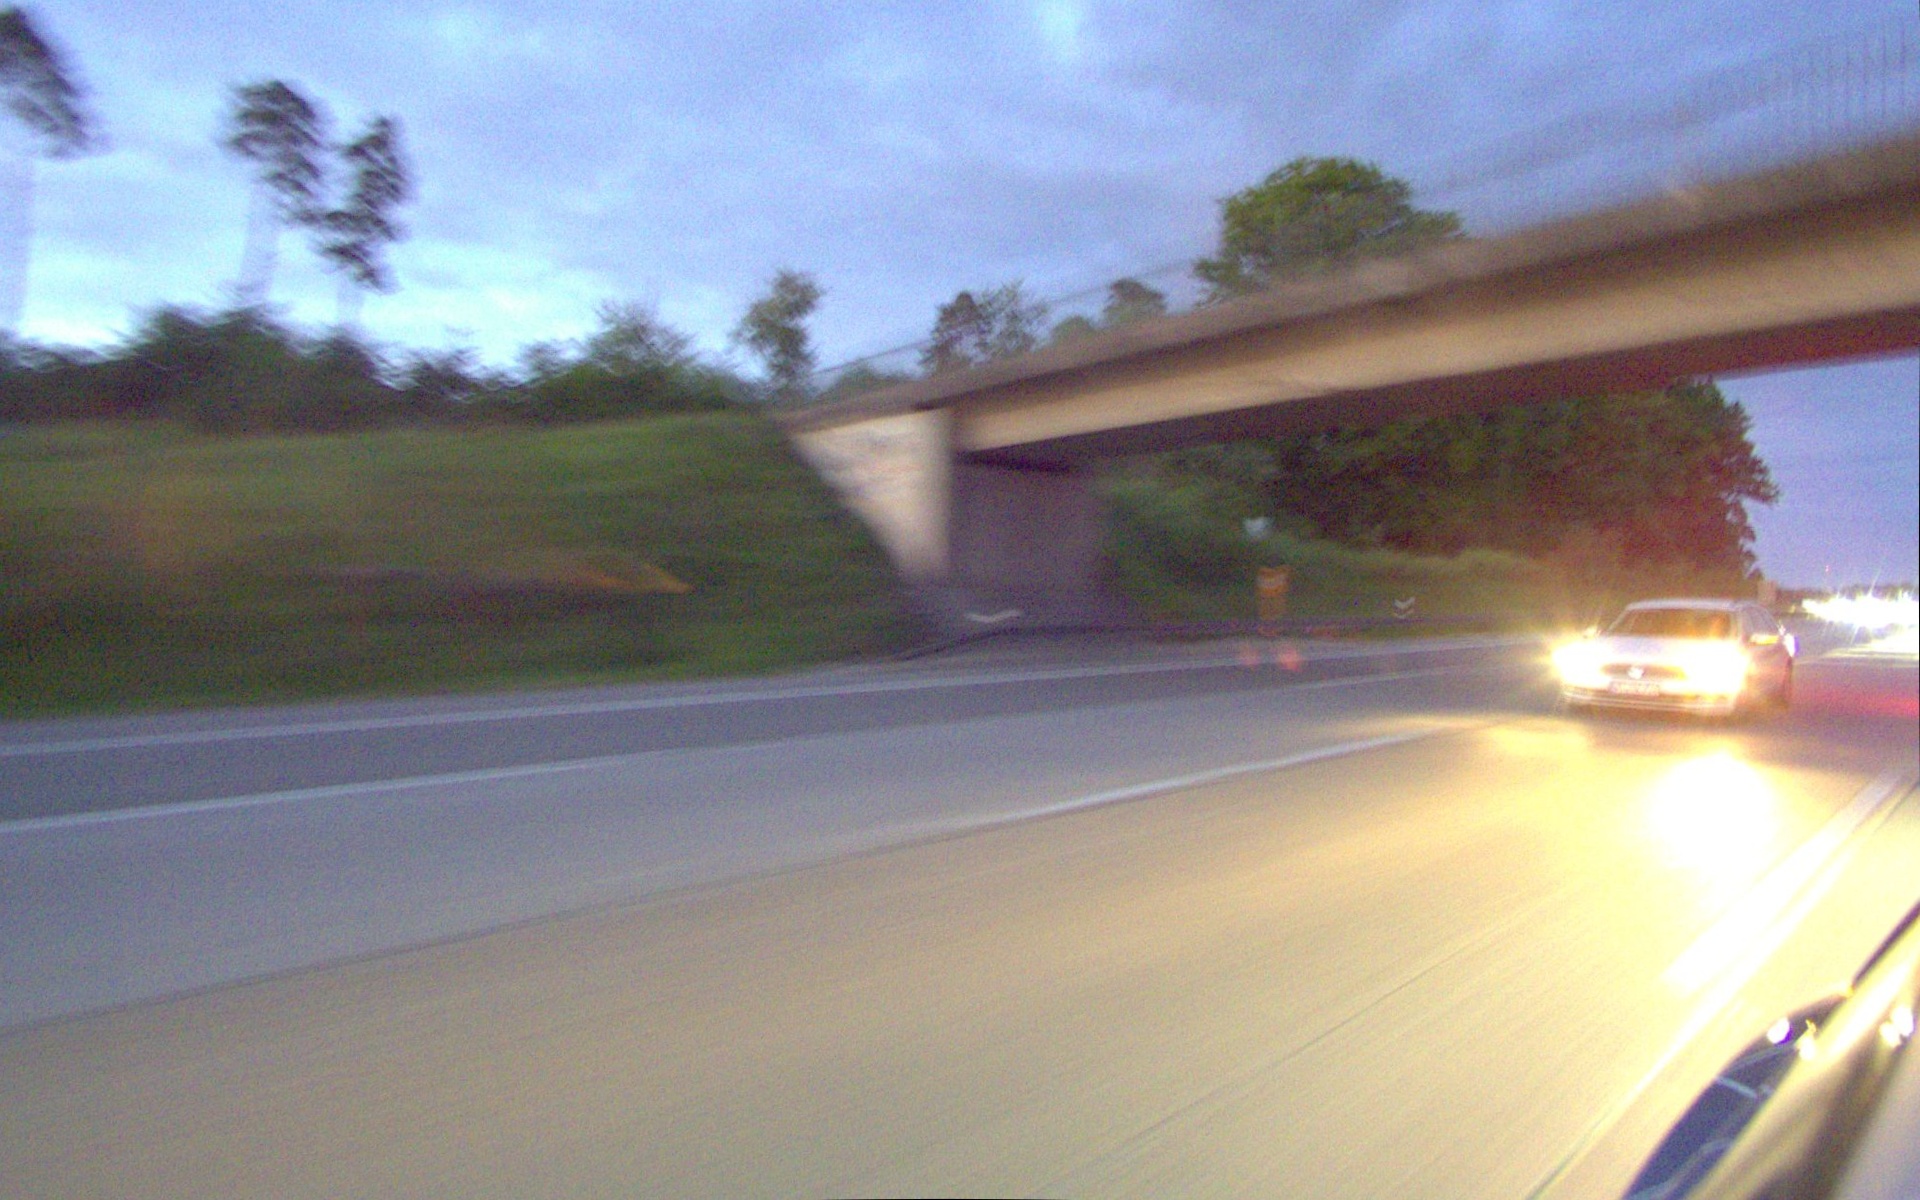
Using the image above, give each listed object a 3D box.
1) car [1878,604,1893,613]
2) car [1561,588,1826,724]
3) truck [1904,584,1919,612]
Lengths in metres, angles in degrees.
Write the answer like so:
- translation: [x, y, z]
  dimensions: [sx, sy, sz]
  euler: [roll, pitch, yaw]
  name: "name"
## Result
- translation: [160.371, 1.460, 175.424]
  dimensions: [1.815, 1.398, 3.978]
  euler: [0, 0, 44]
  name: "car"
- translation: [9.912, 0.599, 13.497]
  dimensions: [5.043, 1.484, 1.812]
  euler: [0, 1, -42]
  name: "car"
- translation: [146.115, -0.278, 154.219]
  dimensions: [3.137, 4.062, 10.376]
  euler: [1, 0, 44]
  name: "truck"
